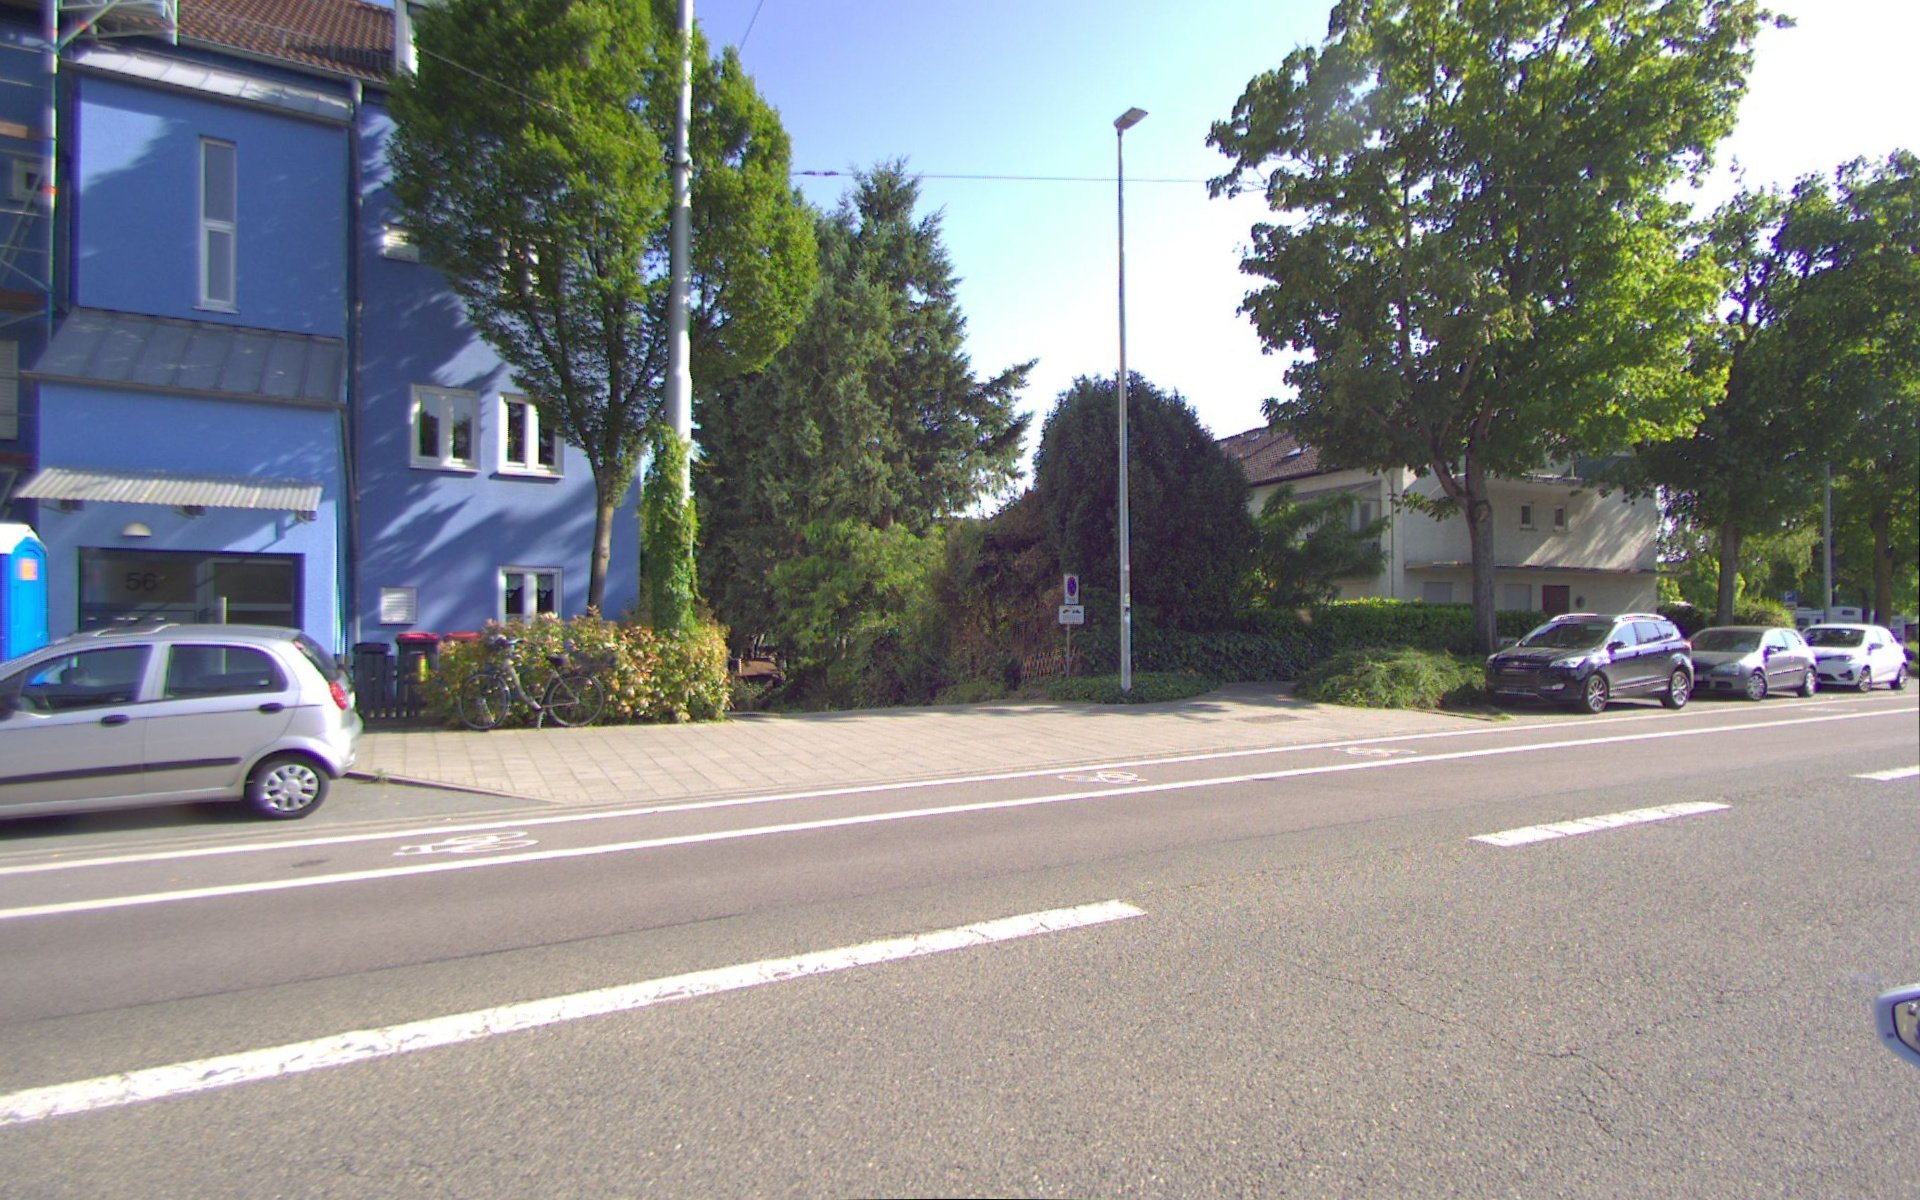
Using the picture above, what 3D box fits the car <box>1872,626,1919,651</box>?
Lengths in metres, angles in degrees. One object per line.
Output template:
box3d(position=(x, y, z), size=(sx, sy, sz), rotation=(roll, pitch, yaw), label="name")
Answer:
box3d(position=(51.845, 2.086, 53.916), size=(1.718, 1.324, 3.966), rotation=(1, -1, -32), label="car")

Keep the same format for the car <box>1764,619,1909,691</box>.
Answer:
box3d(position=(21.249, 1.273, 24.324), size=(3.851, 1.571, 1.592), rotation=(1, 1, -32), label="car")

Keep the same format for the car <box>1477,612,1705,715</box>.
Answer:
box3d(position=(11.691, 1.091, 18.542), size=(4.368, 1.716, 1.704), rotation=(1, -1, -29), label="car")

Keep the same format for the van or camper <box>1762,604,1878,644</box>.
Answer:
box3d(position=(65.830, 1.803, 77.063), size=(2.278, 2.906, 6.438), rotation=(1, -1, -28), label="van or camper")

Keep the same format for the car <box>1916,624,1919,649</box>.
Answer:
box3d(position=(56.665, 2.068, 56.437), size=(1.718, 1.416, 3.966), rotation=(1, -1, -32), label="car")

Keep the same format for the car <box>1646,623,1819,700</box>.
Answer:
box3d(position=(16.524, 1.249, 21.446), size=(3.924, 1.488, 1.668), rotation=(1, -1, -32), label="car")

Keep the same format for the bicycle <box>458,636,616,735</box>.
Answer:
box3d(position=(-5.240, 1.045, 12.525), size=(1.759, 1.169, 0.442), rotation=(1, -1, -23), label="bicycle")

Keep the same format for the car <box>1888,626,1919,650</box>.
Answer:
box3d(position=(54.489, 2.135, 55.852), size=(1.718, 1.324, 3.966), rotation=(1, -1, -32), label="car")

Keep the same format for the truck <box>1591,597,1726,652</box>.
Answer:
box3d(position=(44.540, 1.558, 64.283), size=(1.964, 3.285, 6.928), rotation=(1, -1, -30), label="truck")

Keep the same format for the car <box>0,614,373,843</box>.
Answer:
box3d(position=(-6.746, 0.933, 8.067), size=(3.468, 1.515, 1.593), rotation=(1, 3, -30), label="car")

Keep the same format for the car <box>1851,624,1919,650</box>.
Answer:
box3d(position=(49.598, 1.935, 52.693), size=(1.718, 1.324, 3.966), rotation=(1, -1, -32), label="car")

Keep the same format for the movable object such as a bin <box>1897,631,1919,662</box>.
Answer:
box3d(position=(36.906, 1.788, 38.918), size=(1.246, 1.161, 0.539), rotation=(1, -1, -29), label="movable object such as a bin")

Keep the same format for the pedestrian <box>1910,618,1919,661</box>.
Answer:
box3d(position=(37.711, 1.550, 39.373), size=(0.602, 1.649, 0.522), rotation=(1, -1, -29), label="pedestrian")

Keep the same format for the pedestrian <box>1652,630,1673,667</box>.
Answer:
box3d(position=(23.596, 1.633, 33.732), size=(0.385, 1.233, 0.444), rotation=(0, -1, -21), label="pedestrian")

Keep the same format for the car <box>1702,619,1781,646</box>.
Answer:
box3d(position=(53.462, 2.207, 68.760), size=(1.611, 1.751, 3.960), rotation=(1, -1, -35), label="car")

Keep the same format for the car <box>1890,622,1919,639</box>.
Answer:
box3d(position=(83.305, 2.653, 86.794), size=(1.718, 1.416, 3.966), rotation=(1, -1, -32), label="car")
